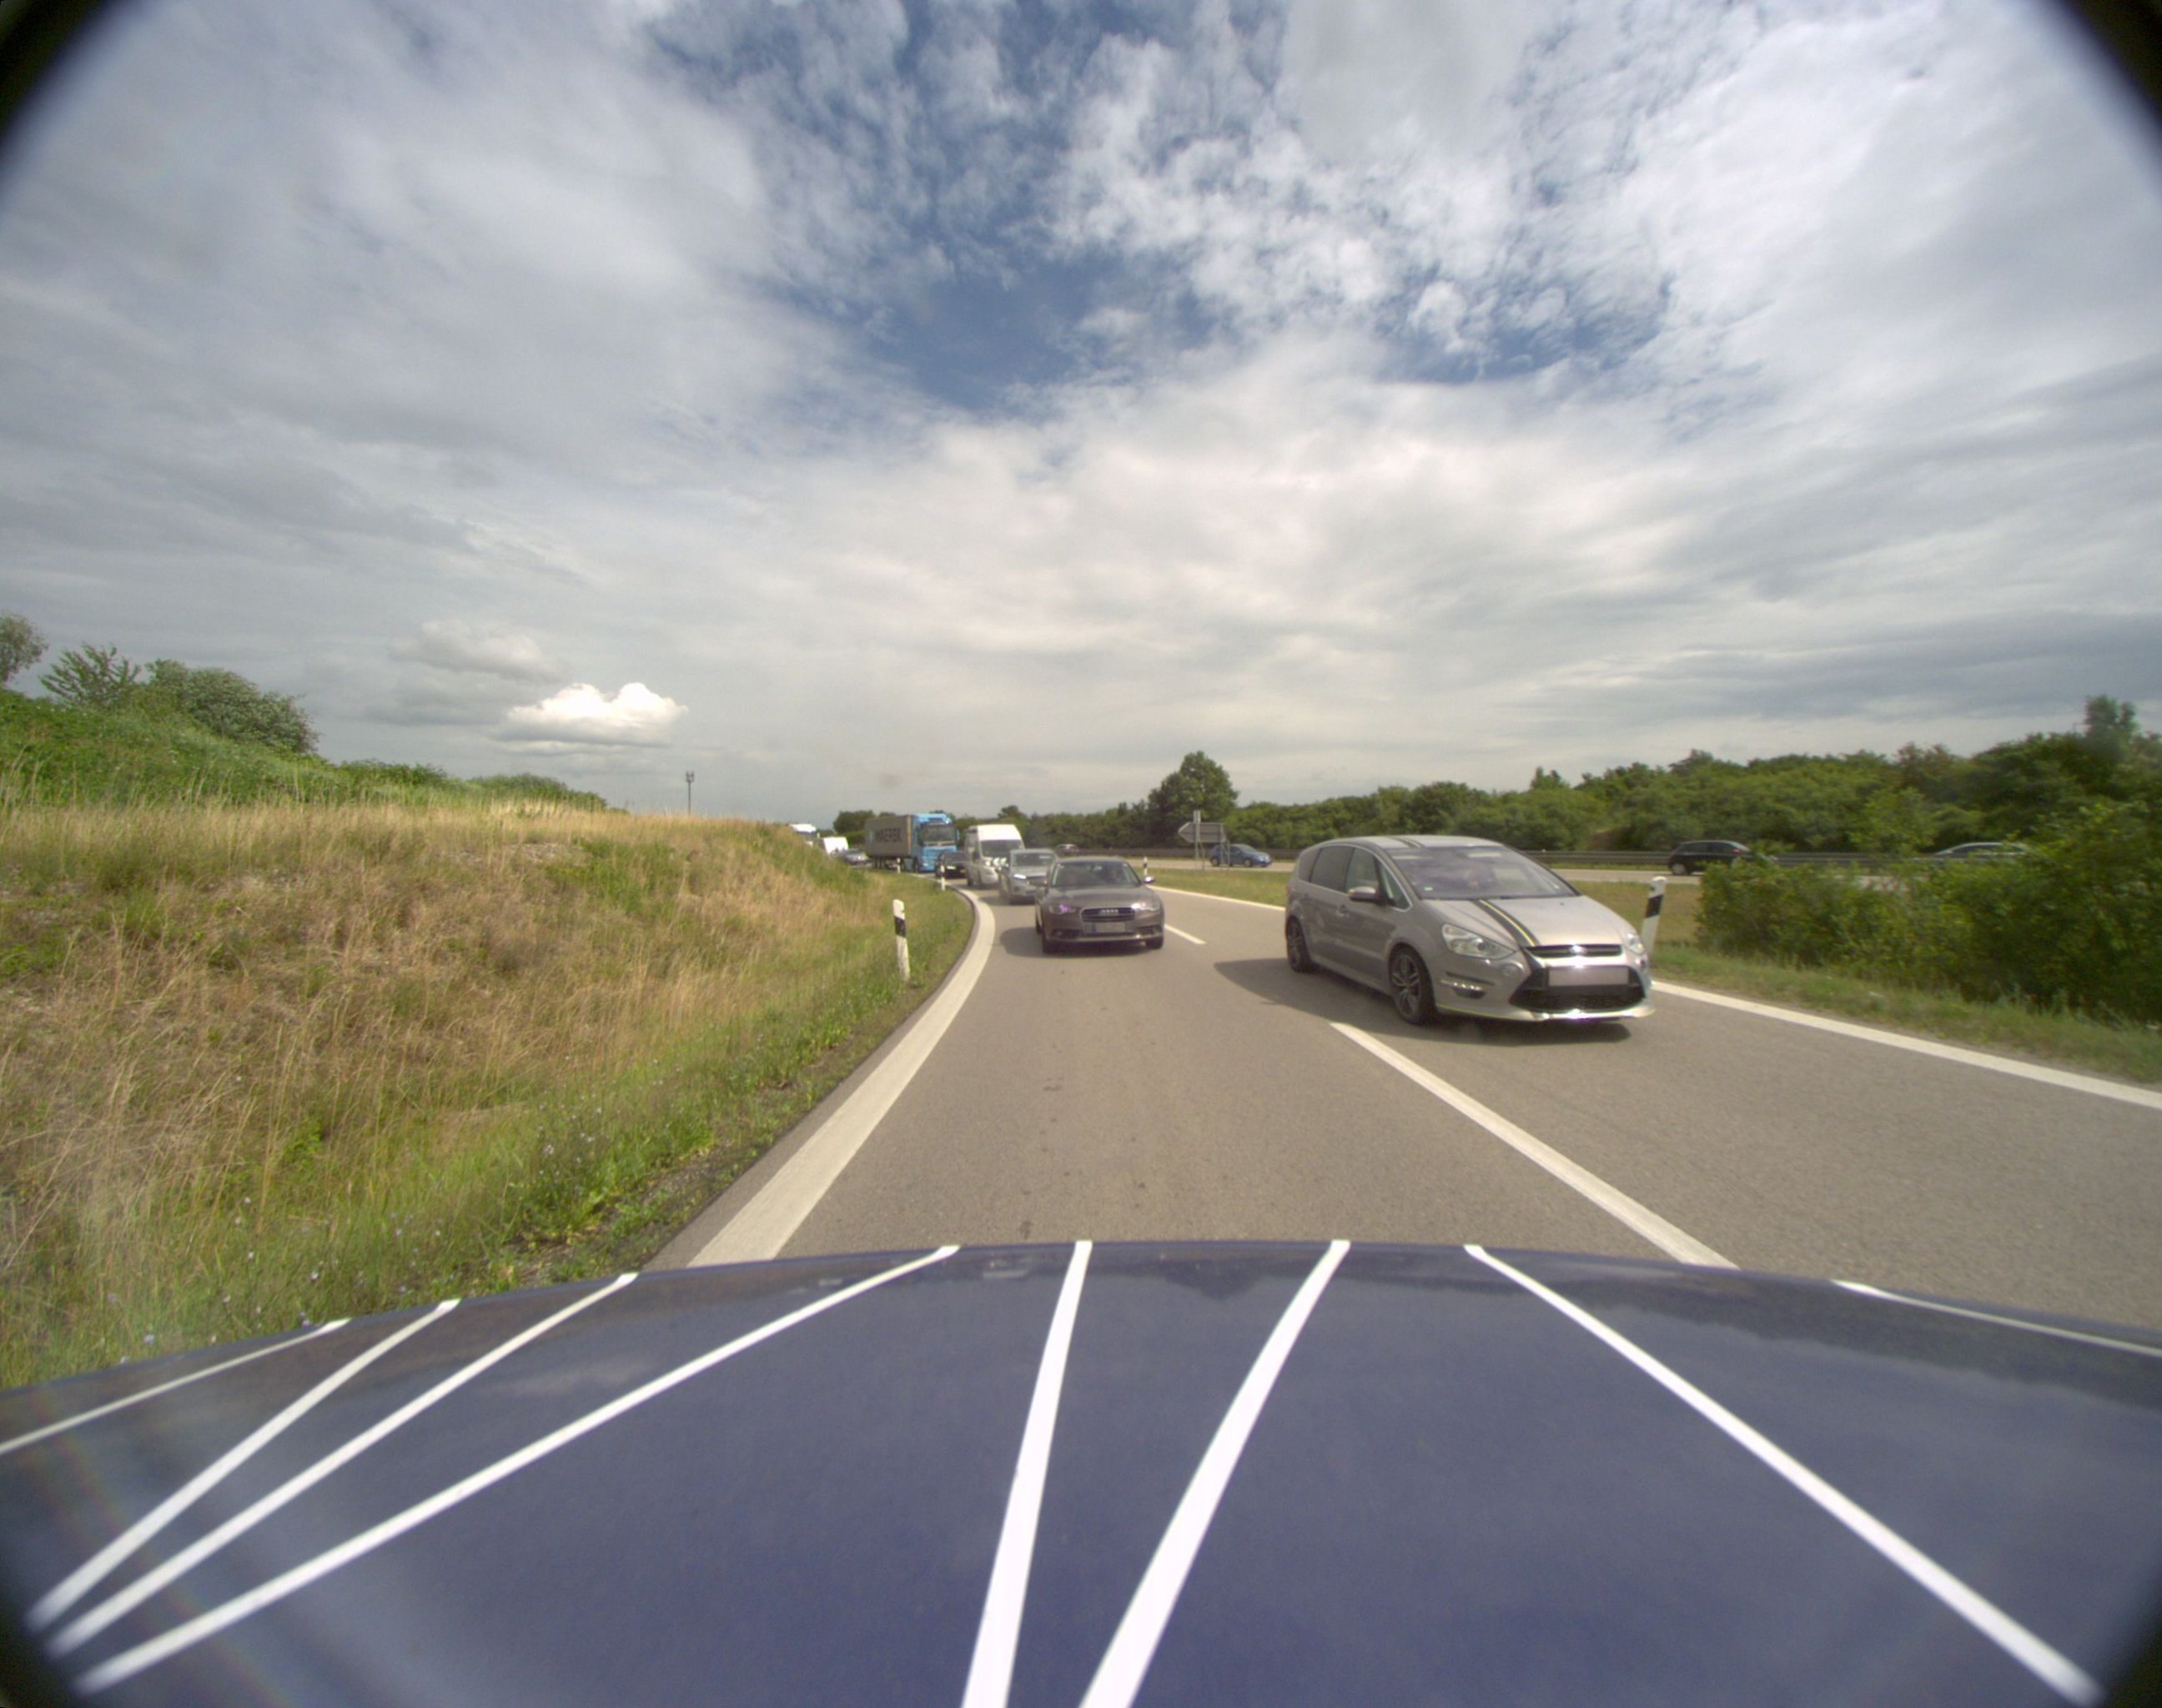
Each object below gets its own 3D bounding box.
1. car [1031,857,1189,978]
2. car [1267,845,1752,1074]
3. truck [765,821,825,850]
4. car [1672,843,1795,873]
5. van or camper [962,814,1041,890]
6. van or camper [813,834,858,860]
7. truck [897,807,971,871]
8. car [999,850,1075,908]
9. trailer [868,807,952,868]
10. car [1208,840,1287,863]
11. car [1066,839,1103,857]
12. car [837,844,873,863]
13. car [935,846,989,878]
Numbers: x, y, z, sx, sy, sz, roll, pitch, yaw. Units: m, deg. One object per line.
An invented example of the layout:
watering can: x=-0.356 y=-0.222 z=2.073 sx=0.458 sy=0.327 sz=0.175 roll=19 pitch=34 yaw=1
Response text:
car: x=0.251 y=0.864 z=12.549 sx=1.999 sy=1.506 sz=4.535 roll=-2 pitch=1 yaw=-5
car: x=3.602 y=0.708 z=7.651 sx=2.027 sy=1.568 sz=4.584 roll=0 pitch=1 yaw=-5
truck: x=-33.026 y=-2.062 z=87.324 sx=3.131 sy=3.220 sz=11.129 roll=-2 pitch=2 yaw=-39
car: x=27.948 y=0.131 z=32.642 sx=2.004 sy=1.164 sz=3.679 roll=-1 pitch=1 yaw=-38
van or camper: x=-3.546 y=-0.106 z=32.832 sx=2.401 sy=2.892 sz=5.712 roll=-2 pitch=1 yaw=-15
van or camper: x=-24.024 y=-0.713 z=74.215 sx=2.558 sy=2.200 sz=5.692 roll=-3 pitch=5 yaw=-36
truck: x=-10.240 y=-0.979 z=52.398 sx=3.184 sy=4.050 sz=6.632 roll=-3 pitch=1 yaw=-27
car: x=-1.455 y=0.697 z=23.680 sx=1.844 sy=1.587 sz=4.169 roll=-1 pitch=1 yaw=-10
trailer: x=-13.393 y=-1.155 z=58.368 sx=3.280 sy=4.137 sz=11.990 roll=-3 pitch=1 yaw=-27
car: x=10.446 y=-0.179 z=48.042 sx=2.004 sy=1.415 sz=4.573 roll=-1 pitch=2 yaw=-41
car: x=0.384 y=-0.638 z=85.986 sx=1.848 sy=1.862 sz=4.195 roll=-3 pitch=1 yaw=-38
car: x=-20.568 y=-0.076 z=69.180 sx=2.003 sy=1.521 sz=3.989 roll=-2 pitch=3 yaw=-34
car: x=-6.659 y=0.375 z=42.121 sx=2.002 sy=1.609 sz=3.991 roll=-1 pitch=2 yaw=-24
